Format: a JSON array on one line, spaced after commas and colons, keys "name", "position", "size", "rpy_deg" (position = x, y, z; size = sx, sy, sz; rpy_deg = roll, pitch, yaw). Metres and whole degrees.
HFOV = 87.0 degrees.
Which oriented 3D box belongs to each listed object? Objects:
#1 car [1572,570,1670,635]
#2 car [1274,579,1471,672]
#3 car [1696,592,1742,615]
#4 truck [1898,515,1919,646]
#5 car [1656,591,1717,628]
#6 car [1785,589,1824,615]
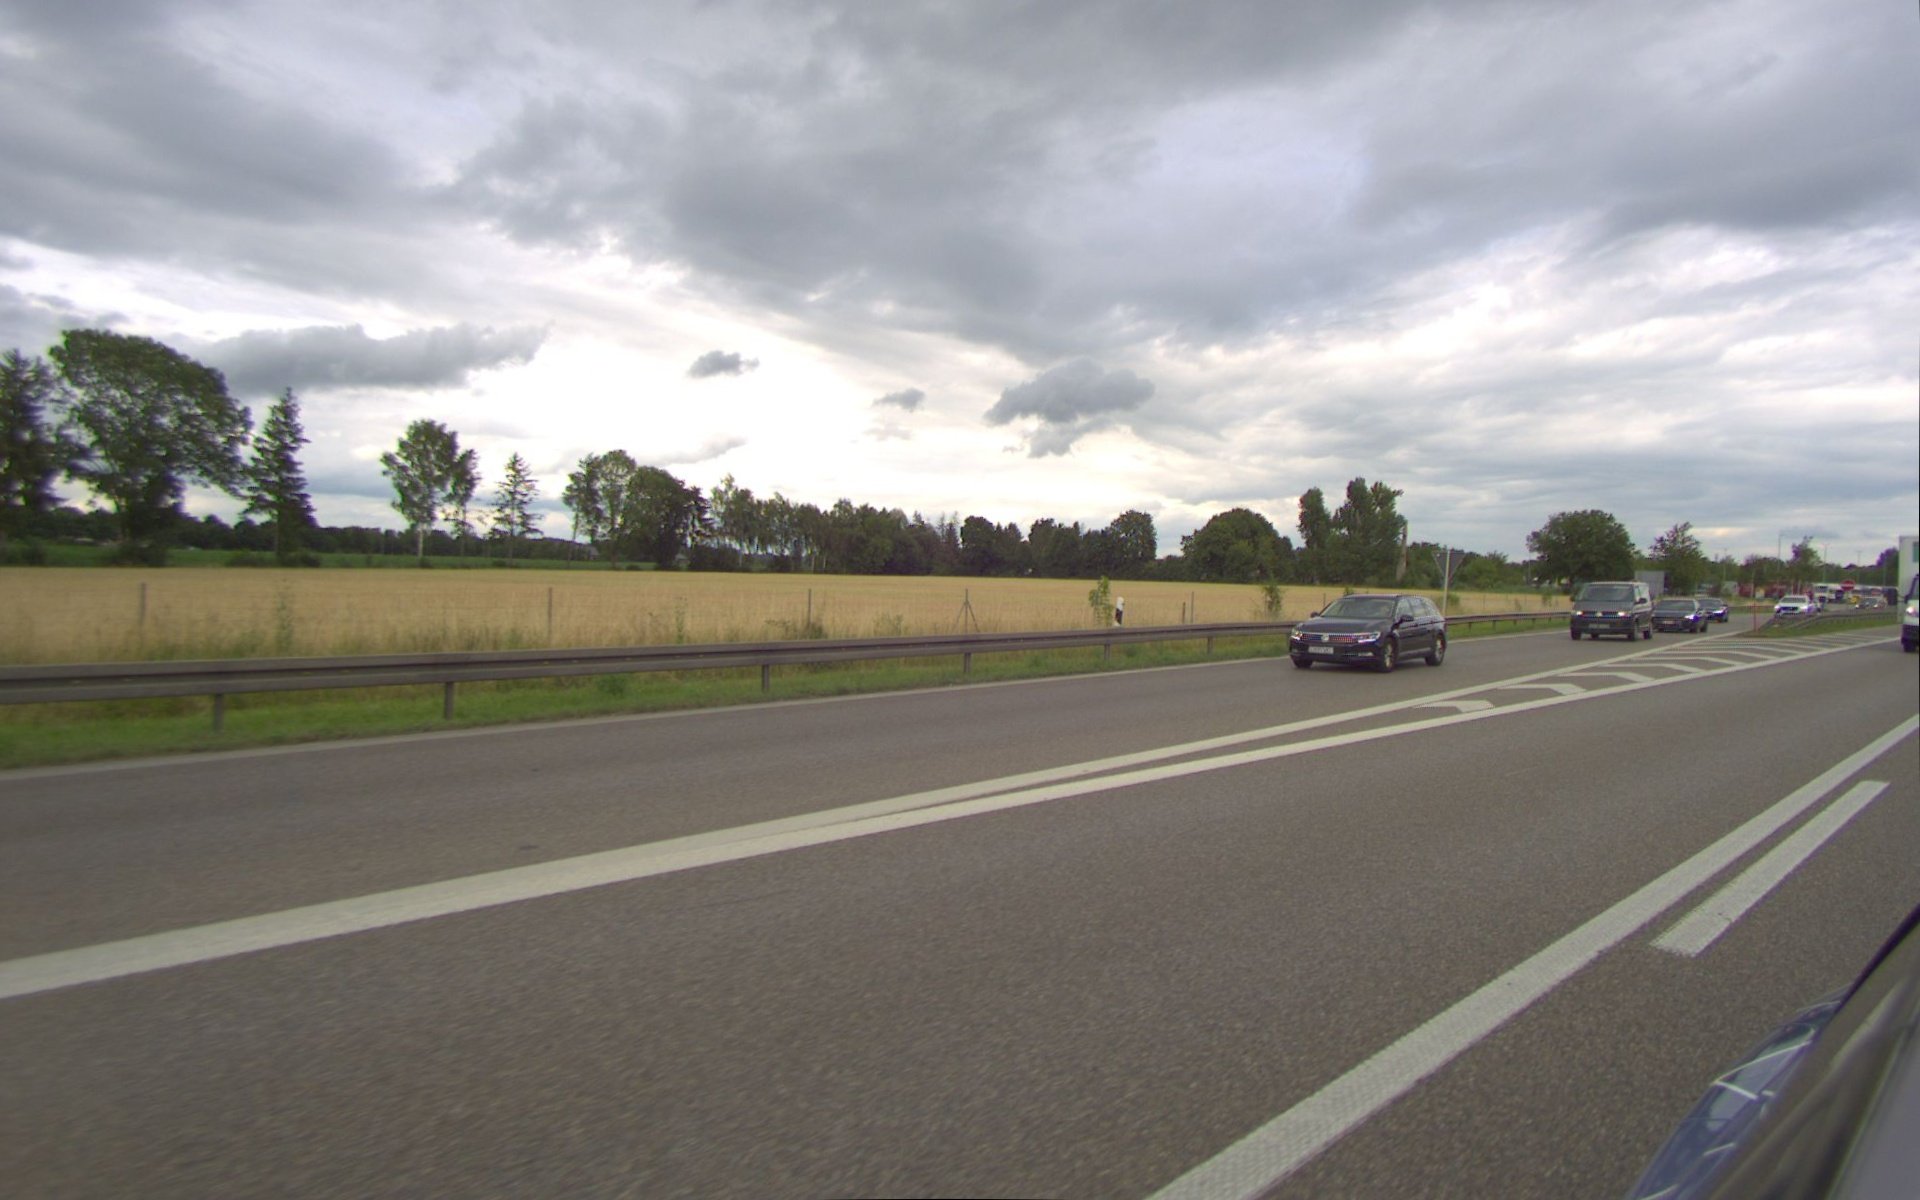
[{"name": "car", "position": [22.815, 0.063, 34.845], "size": [2.142, 2.089, 4.883], "rpy_deg": [1, 1, 41]}, {"name": "car", "position": [8.291, 0.414, 20.098], "size": [1.918, 1.569, 4.845], "rpy_deg": [3, 2, 44]}, {"name": "car", "position": [46.263, 0.166, 61.643], "size": [1.827, 1.333, 5.628], "rpy_deg": [0, 0, 42]}, {"name": "truck", "position": [29.961, -0.507, 29.615], "size": [8.904, 3.549, 2.775], "rpy_deg": [0, 0, -41]}, {"name": "car", "position": [30.988, 0.362, 43.118], "size": [1.748, 1.503, 4.525], "rpy_deg": [0, 0, 41]}, {"name": "car", "position": [61.374, 0.125, 73.510], "size": [1.828, 1.778, 4.985], "rpy_deg": [2, 2, 44]}]
